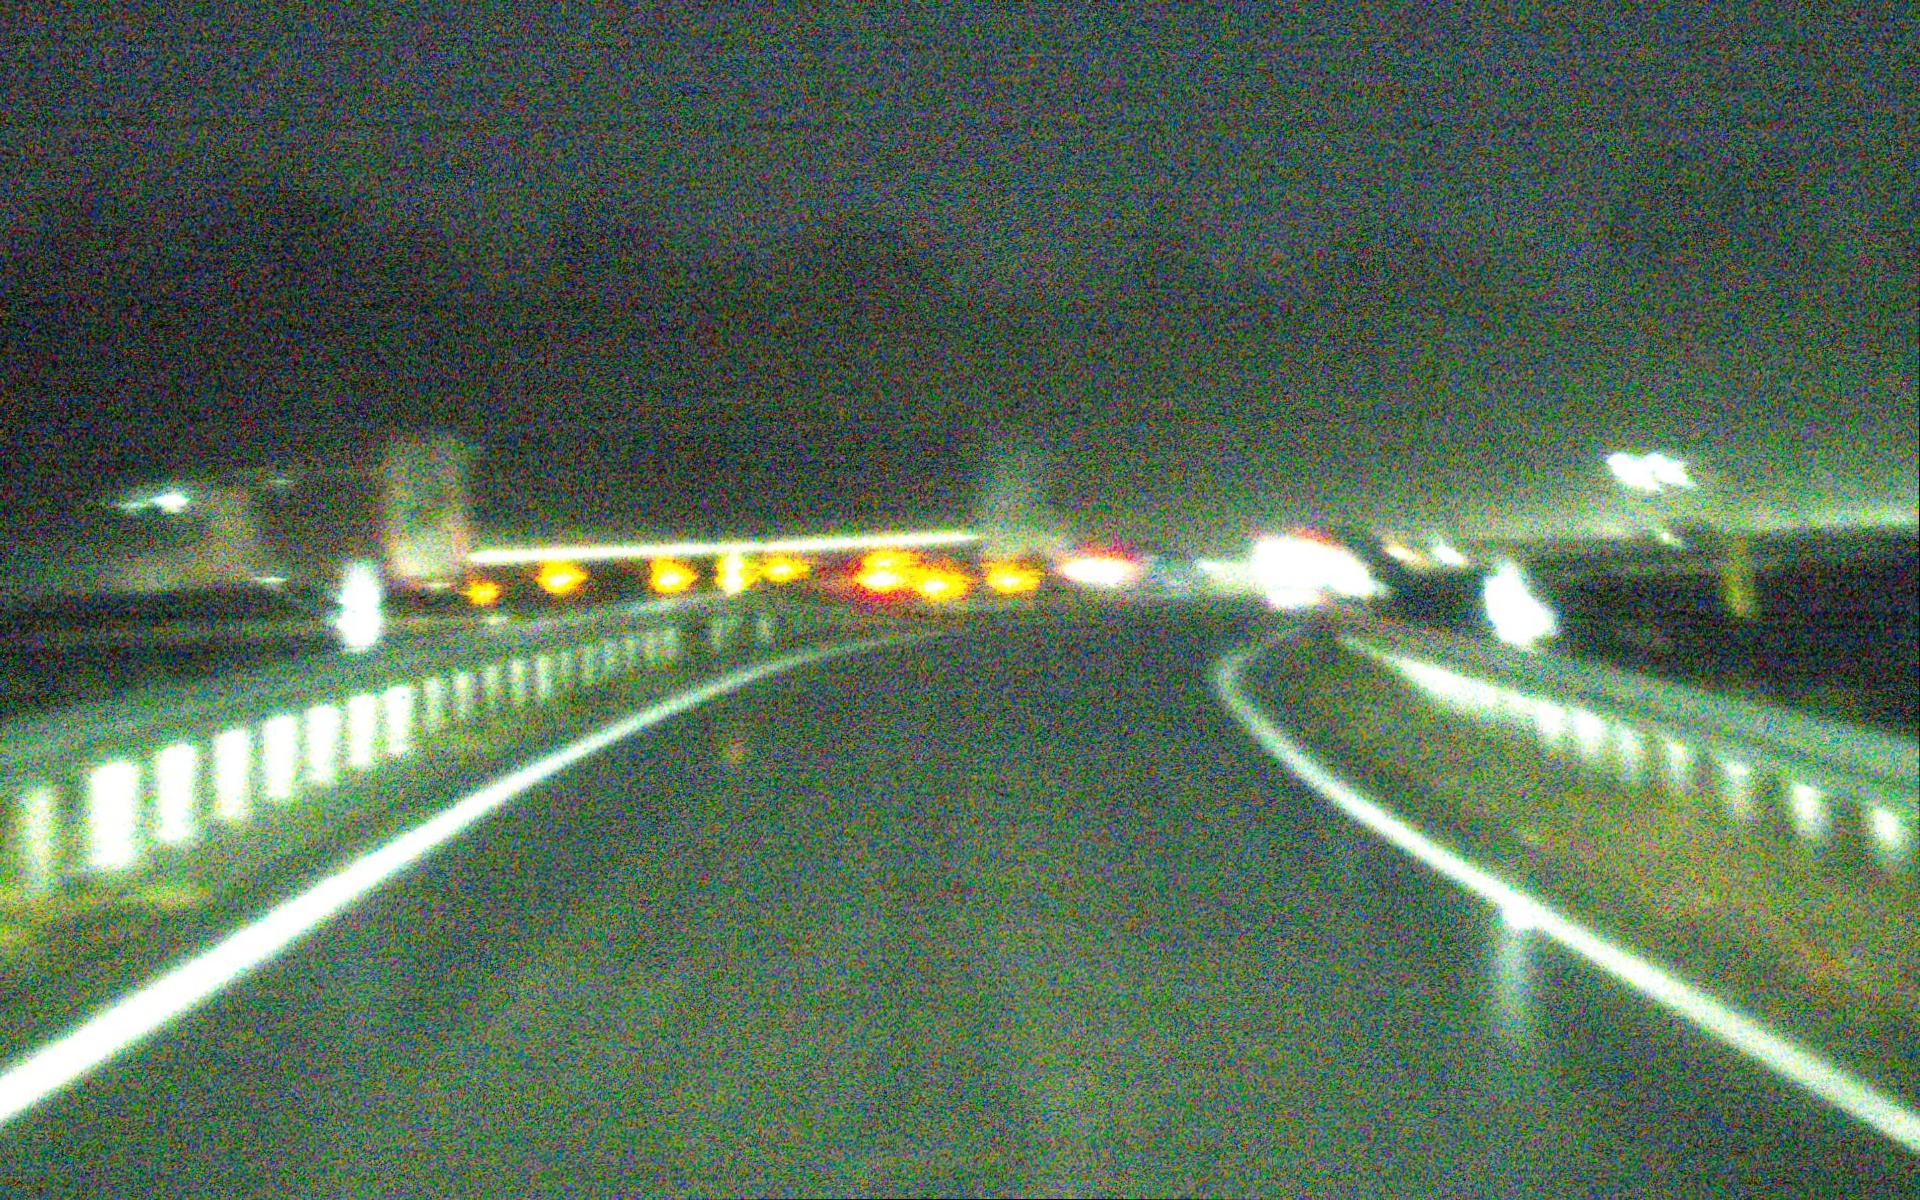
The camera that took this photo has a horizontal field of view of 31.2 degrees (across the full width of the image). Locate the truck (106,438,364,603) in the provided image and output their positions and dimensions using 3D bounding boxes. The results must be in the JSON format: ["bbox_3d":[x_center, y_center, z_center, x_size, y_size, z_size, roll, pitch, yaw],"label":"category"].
[{"bbox_3d":[-18.334,-2.071,87.102,5.732,4.015,2.778,-3,3,-42],"label":"truck"}]

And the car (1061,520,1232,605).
[{"bbox_3d":[4.630,-0.952,85.217,3.989,2.006,1.999,-2,3,-42],"label":"car"}]

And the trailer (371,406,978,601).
[{"bbox_3d":[-5.588,-2.043,70.944,13.614,3.712,2.599,-2,3,-41],"label":"trailer"}]

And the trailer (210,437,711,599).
[{"bbox_3d":[-13.071,-2.315,91.810,13.976,4.015,2.778,-3,3,-42],"label":"trailer"}]

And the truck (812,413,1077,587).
[{"bbox_3d":[-0.320,-2.223,75.588,5.443,3.698,2.595,-2,3,-41],"label":"truck"}]

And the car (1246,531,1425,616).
[{"bbox_3d":[8.708,-0.647,79.584,3.989,1.812,1.999,-3,3,-44],"label":"car"}]
